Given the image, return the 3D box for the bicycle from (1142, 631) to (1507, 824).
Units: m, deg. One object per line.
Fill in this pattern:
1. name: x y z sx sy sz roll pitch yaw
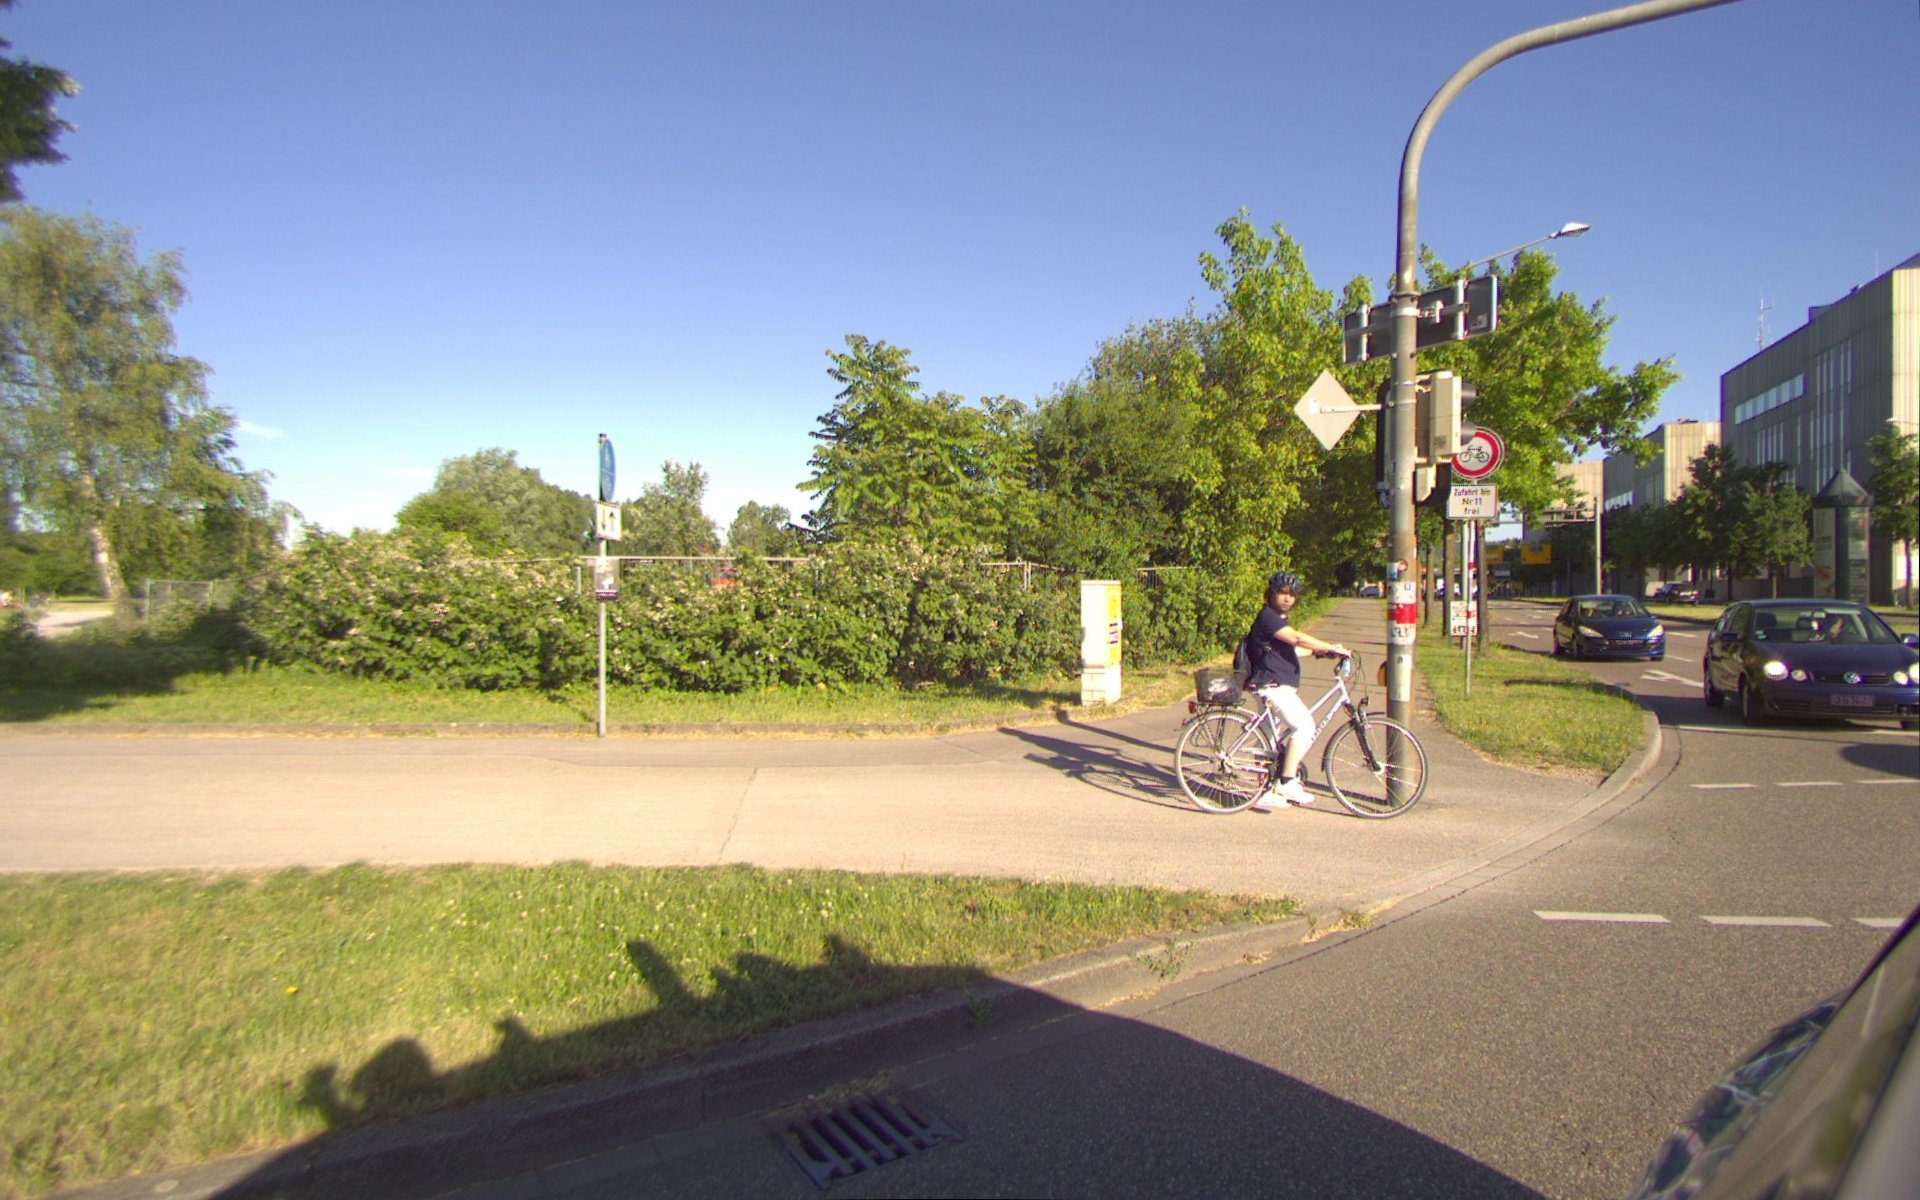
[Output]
1. bicycle: 2.428 0.837 6.981 2.175 1.169 0.876 0 2 1

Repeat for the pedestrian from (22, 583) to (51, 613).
1. pedestrian: -45.068 -0.083 49.387 0.650 1.458 0.793 0 0 7

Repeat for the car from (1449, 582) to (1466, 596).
1. car: 64.929 -1.437 132.094 1.980 1.709 3.964 0 1 26

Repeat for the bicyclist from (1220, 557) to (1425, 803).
1. bicyclist: 2.452 0.503 6.979 1.067 1.581 0.876 0 2 0

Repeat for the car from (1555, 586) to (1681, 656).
1. car: 15.414 0.435 23.923 1.738 1.472 3.970 -2 0 23

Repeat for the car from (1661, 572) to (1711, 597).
1. car: 53.906 -1.155 75.232 1.977 1.760 4.704 0 1 22

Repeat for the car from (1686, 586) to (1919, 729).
1. car: 10.630 0.579 12.777 1.622 1.486 4.505 -1 0 26

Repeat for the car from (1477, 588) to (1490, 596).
1. car: 113.754 -1.798 219.920 1.977 1.598 3.970 0 1 23

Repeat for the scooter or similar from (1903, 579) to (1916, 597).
1. scooter or similar: 60.816 -0.784 64.843 0.451 1.124 1.388 0 1 36

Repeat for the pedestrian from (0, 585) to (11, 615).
1. pedestrian: -47.252 0.007 49.648 0.675 1.458 0.793 0 0 7

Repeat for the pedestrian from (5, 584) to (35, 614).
1. pedestrian: -46.287 -0.040 49.850 0.761 1.458 0.793 0 0 7
